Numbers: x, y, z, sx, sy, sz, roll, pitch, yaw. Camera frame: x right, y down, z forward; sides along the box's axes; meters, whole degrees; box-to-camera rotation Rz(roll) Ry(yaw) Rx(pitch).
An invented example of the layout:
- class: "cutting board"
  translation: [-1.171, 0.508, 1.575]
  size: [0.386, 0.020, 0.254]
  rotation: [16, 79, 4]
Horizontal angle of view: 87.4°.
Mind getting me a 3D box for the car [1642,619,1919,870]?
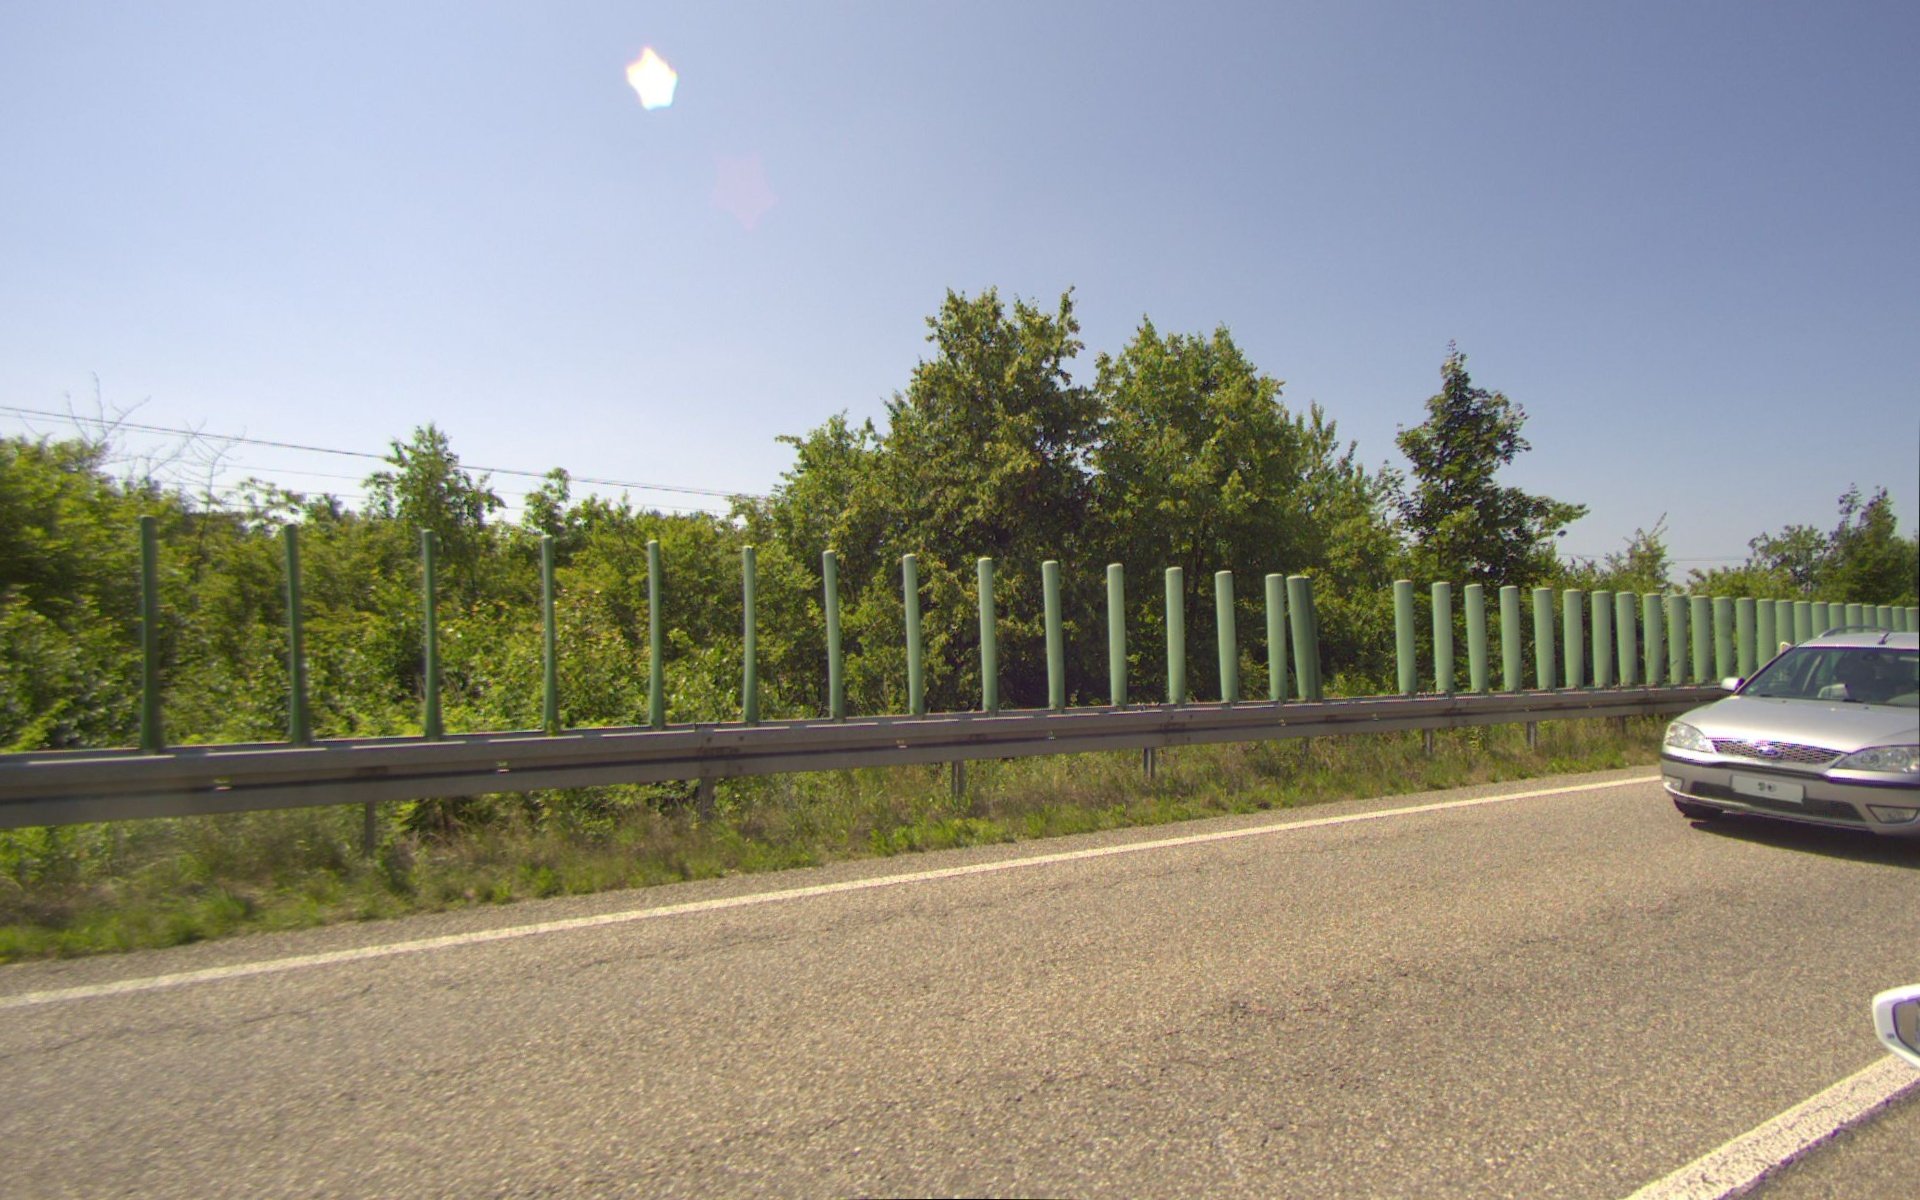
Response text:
- class: "car"
  translation: [7.339, 0.940, 7.866]
  size: [4.199, 1.521, 1.711]
  rotation: [1, -1, -31]
